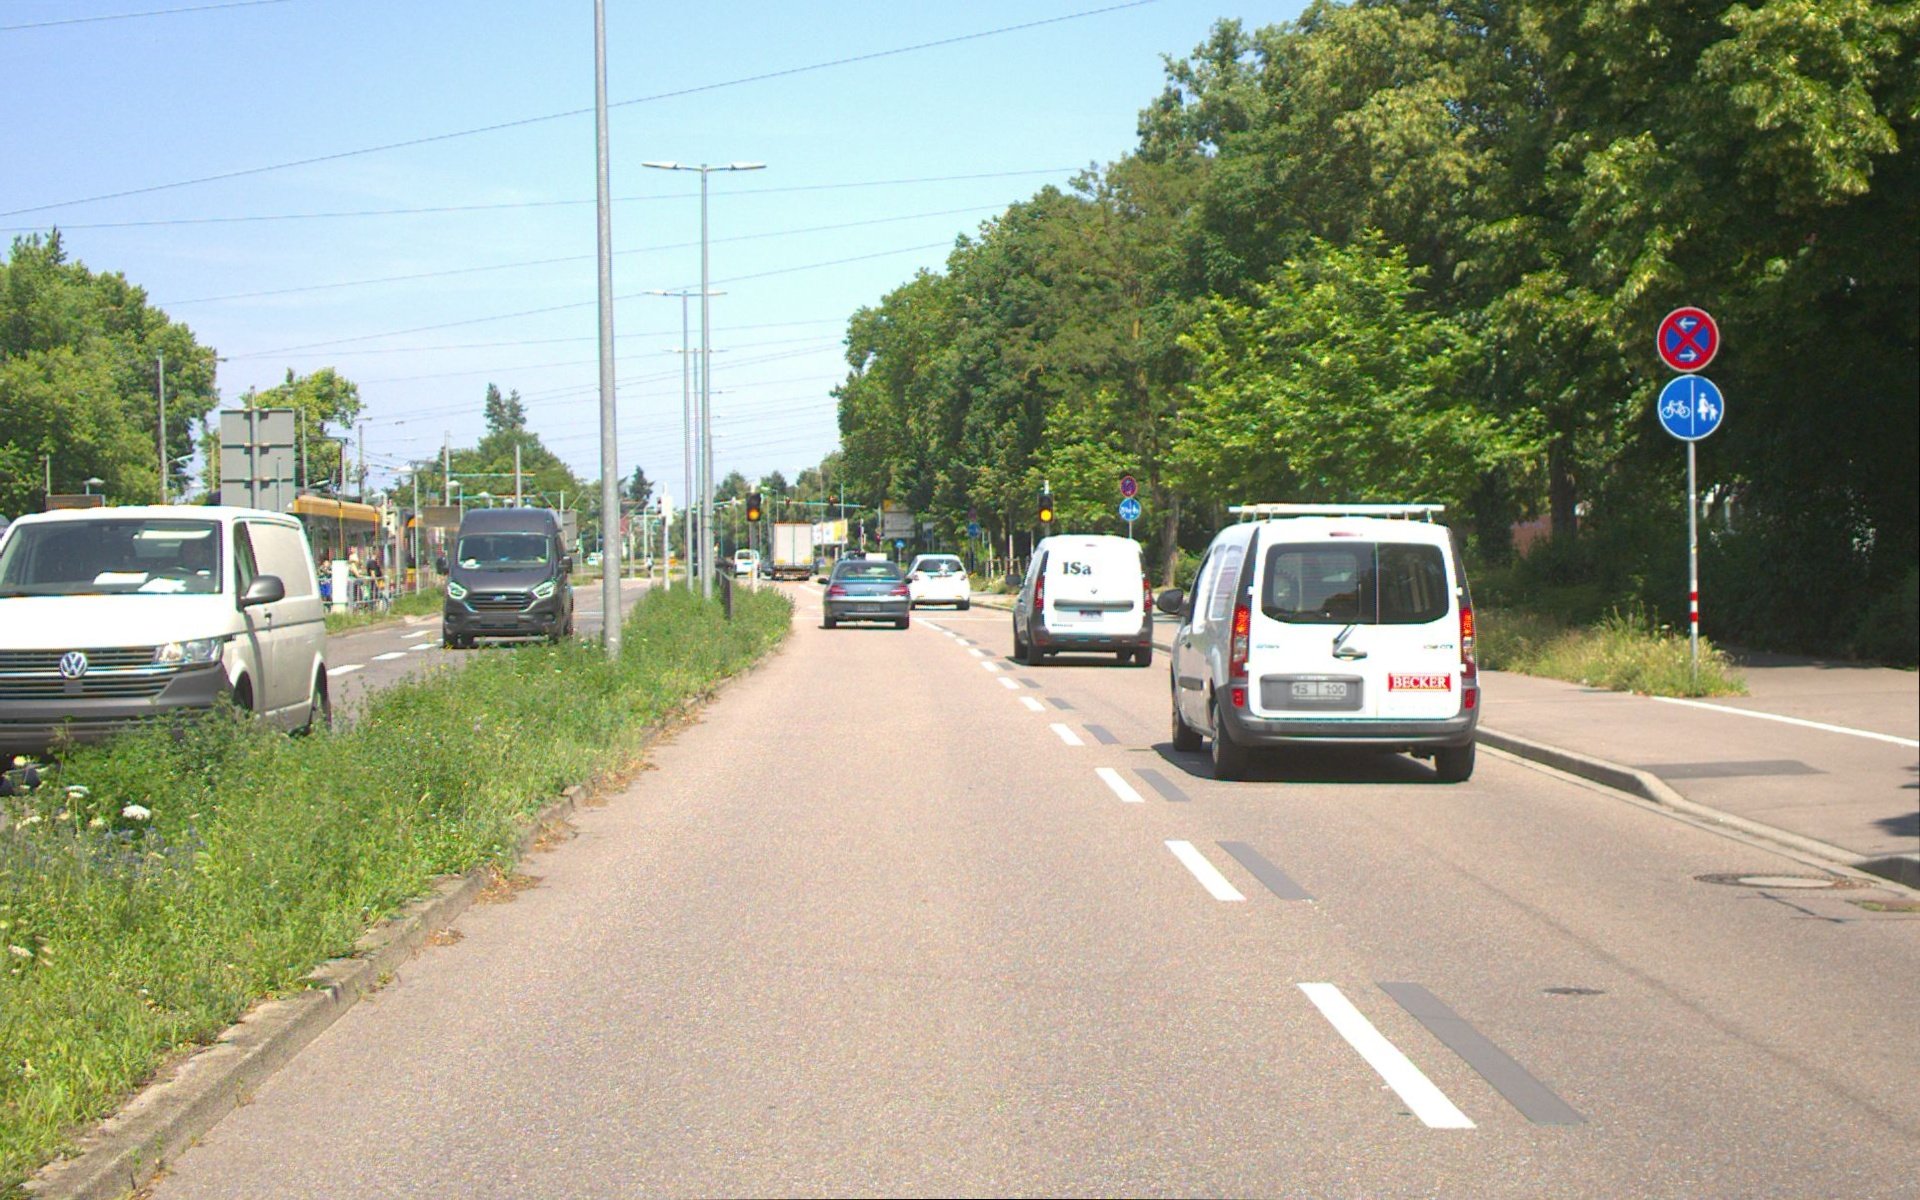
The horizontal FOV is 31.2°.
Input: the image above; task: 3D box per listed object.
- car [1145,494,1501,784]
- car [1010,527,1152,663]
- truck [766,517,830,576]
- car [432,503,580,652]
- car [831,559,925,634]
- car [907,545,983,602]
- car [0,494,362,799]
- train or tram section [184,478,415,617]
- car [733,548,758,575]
[{"bbox_3d":[2.495,0.232,24.682,1.824,1.875,4.456,1,1,-3],"label":"car"},{"bbox_3d":[1.656,-0.105,48.230,1.727,1.807,4.000,1,1,-2],"label":"car"},{"bbox_3d":[-10.760,-3.517,226.731,3.898,3.800,10.794,-1,1,-4],"label":"truck"},{"bbox_3d":[-7.678,-0.407,58.567,1.993,2.358,5.373,-1,1,-3],"label":"car"},{"bbox_3d":[-1.694,-0.086,69.991,1.801,1.481,4.001,0,1,-3],"label":"car"},{"bbox_3d":[-0.435,-0.739,94.379,1.803,1.534,4.001,0,1,-4],"label":"car"},{"bbox_3d":[-5.737,0.265,24.703,1.830,1.900,5.566,-2,1,0],"label":"car"},{"bbox_3d":[-20.431,-1.580,109.566,2.787,3.655,37.523,0,1,-4],"label":"train or tram section"},{"bbox_3d":[-15.157,-2.730,242.905,1.687,1.891,3.871,0,1,-4],"label":"car"}]
